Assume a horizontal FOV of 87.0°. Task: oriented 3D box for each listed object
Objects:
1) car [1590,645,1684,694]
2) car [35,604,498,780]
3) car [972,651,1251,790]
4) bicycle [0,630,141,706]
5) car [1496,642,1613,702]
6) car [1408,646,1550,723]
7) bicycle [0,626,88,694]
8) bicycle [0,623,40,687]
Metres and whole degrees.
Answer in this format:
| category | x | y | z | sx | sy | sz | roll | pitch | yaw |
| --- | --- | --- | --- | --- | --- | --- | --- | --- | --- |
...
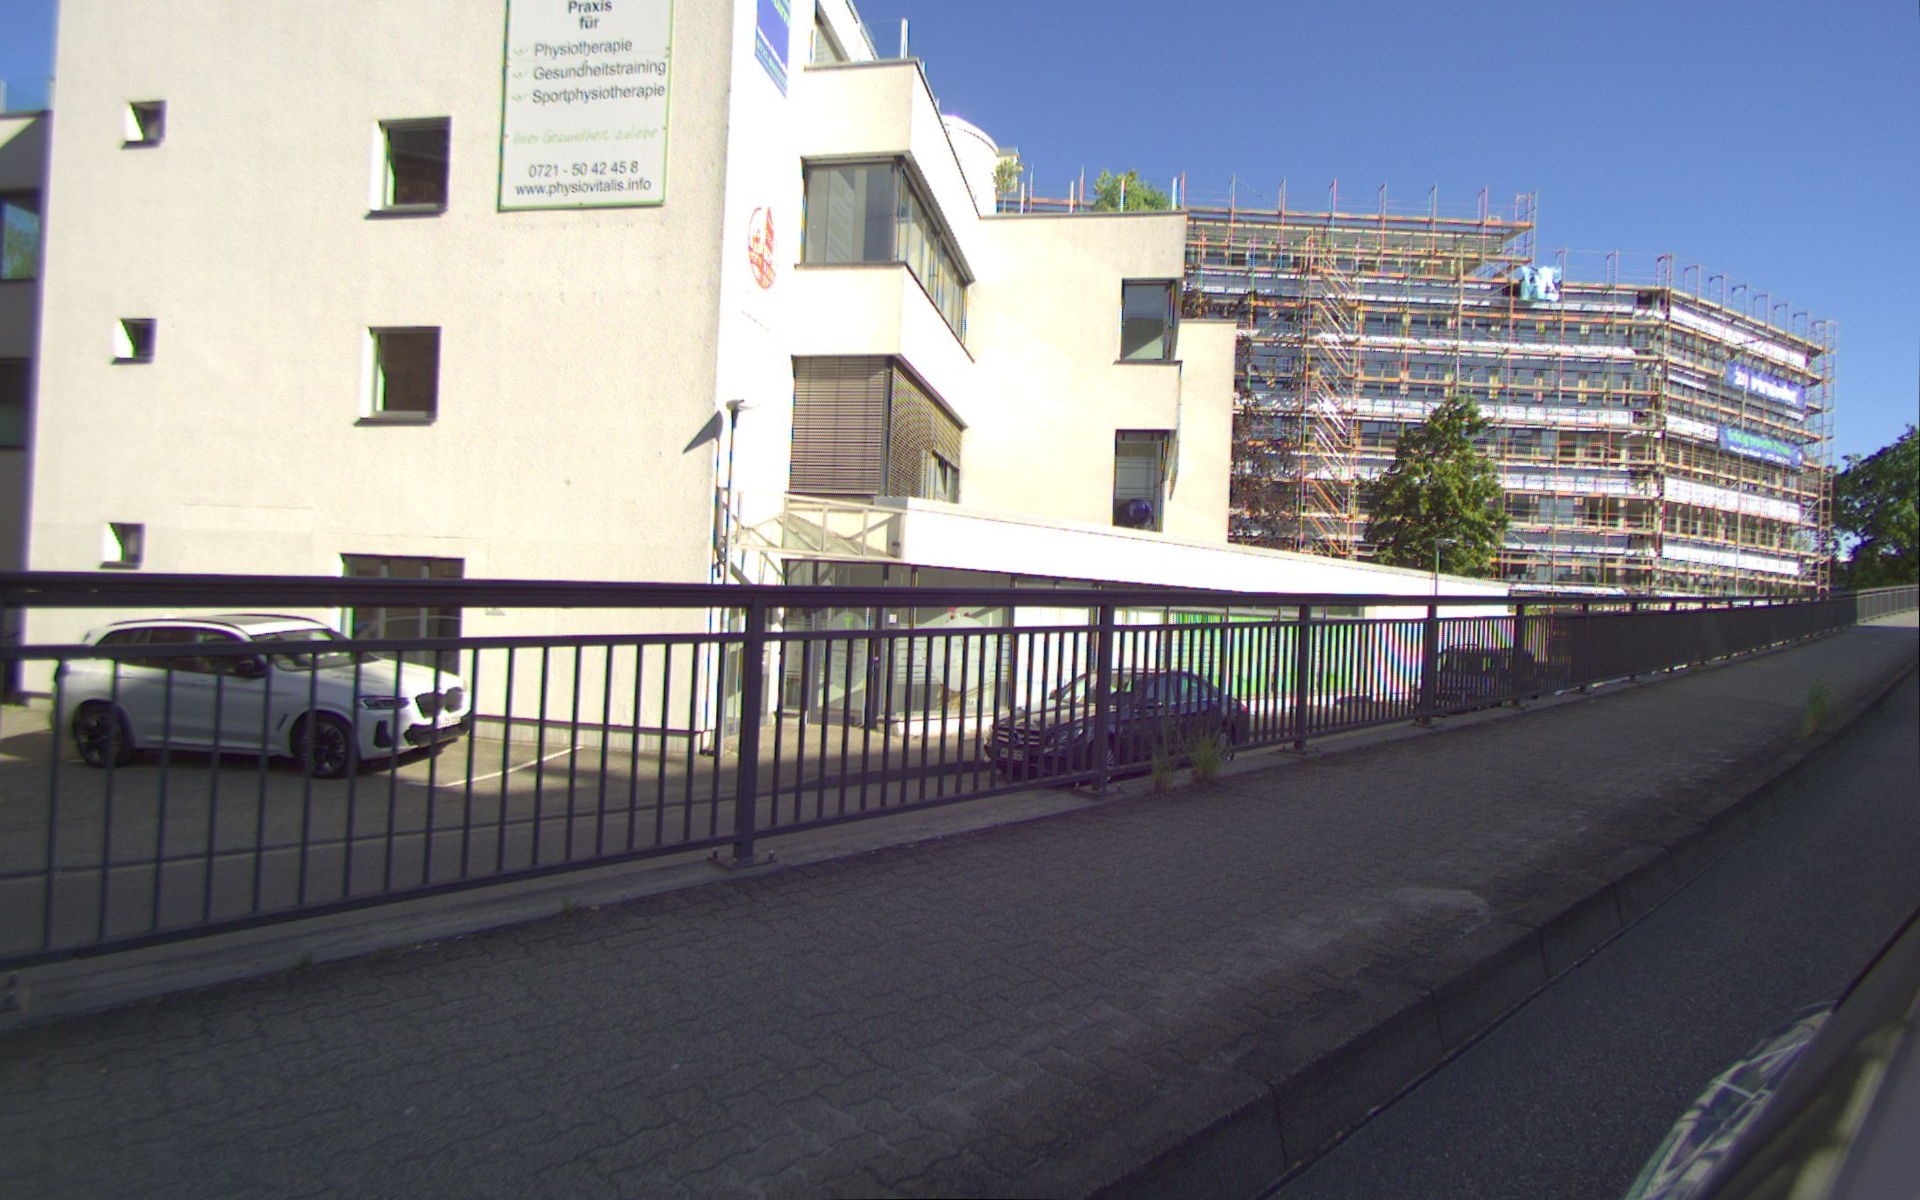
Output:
| category | x | y | z | sx | sy | sz | roll | pitch | yaw |
| --- | --- | --- | --- | --- | --- | --- | --- | --- | --- |
| car | 22.313 | 2.236 | 33.311 | 3.932 | 1.410 | 1.723 | 2 | -1 | -43 |
| car | -8.137 | 0.994 | 12.072 | 4.454 | 1.707 | 1.840 | 2 | 0 | 8 |
| car | 2.209 | 1.549 | 14.132 | 3.930 | 1.541 | 1.724 | 2 | -1 | -41 |
| bicycle | -14.664 | 1.078 | 16.599 | 0.655 | 1.065 | 1.916 | 2 | 1 | 11 |
| car | 16.258 | 1.912 | 27.614 | 3.932 | 1.410 | 1.723 | 2 | -1 | -43 |
| car | 12.172 | 1.894 | 23.645 | 3.932 | 1.541 | 1.723 | 2 | -1 | -43 |
| bicycle | -16.144 | 1.017 | 17.254 | 0.655 | 1.065 | 1.916 | 2 | 1 | 11 |
| bicycle | -17.064 | 0.966 | 17.329 | 0.655 | 1.065 | 1.916 | 2 | 1 | 11 |
